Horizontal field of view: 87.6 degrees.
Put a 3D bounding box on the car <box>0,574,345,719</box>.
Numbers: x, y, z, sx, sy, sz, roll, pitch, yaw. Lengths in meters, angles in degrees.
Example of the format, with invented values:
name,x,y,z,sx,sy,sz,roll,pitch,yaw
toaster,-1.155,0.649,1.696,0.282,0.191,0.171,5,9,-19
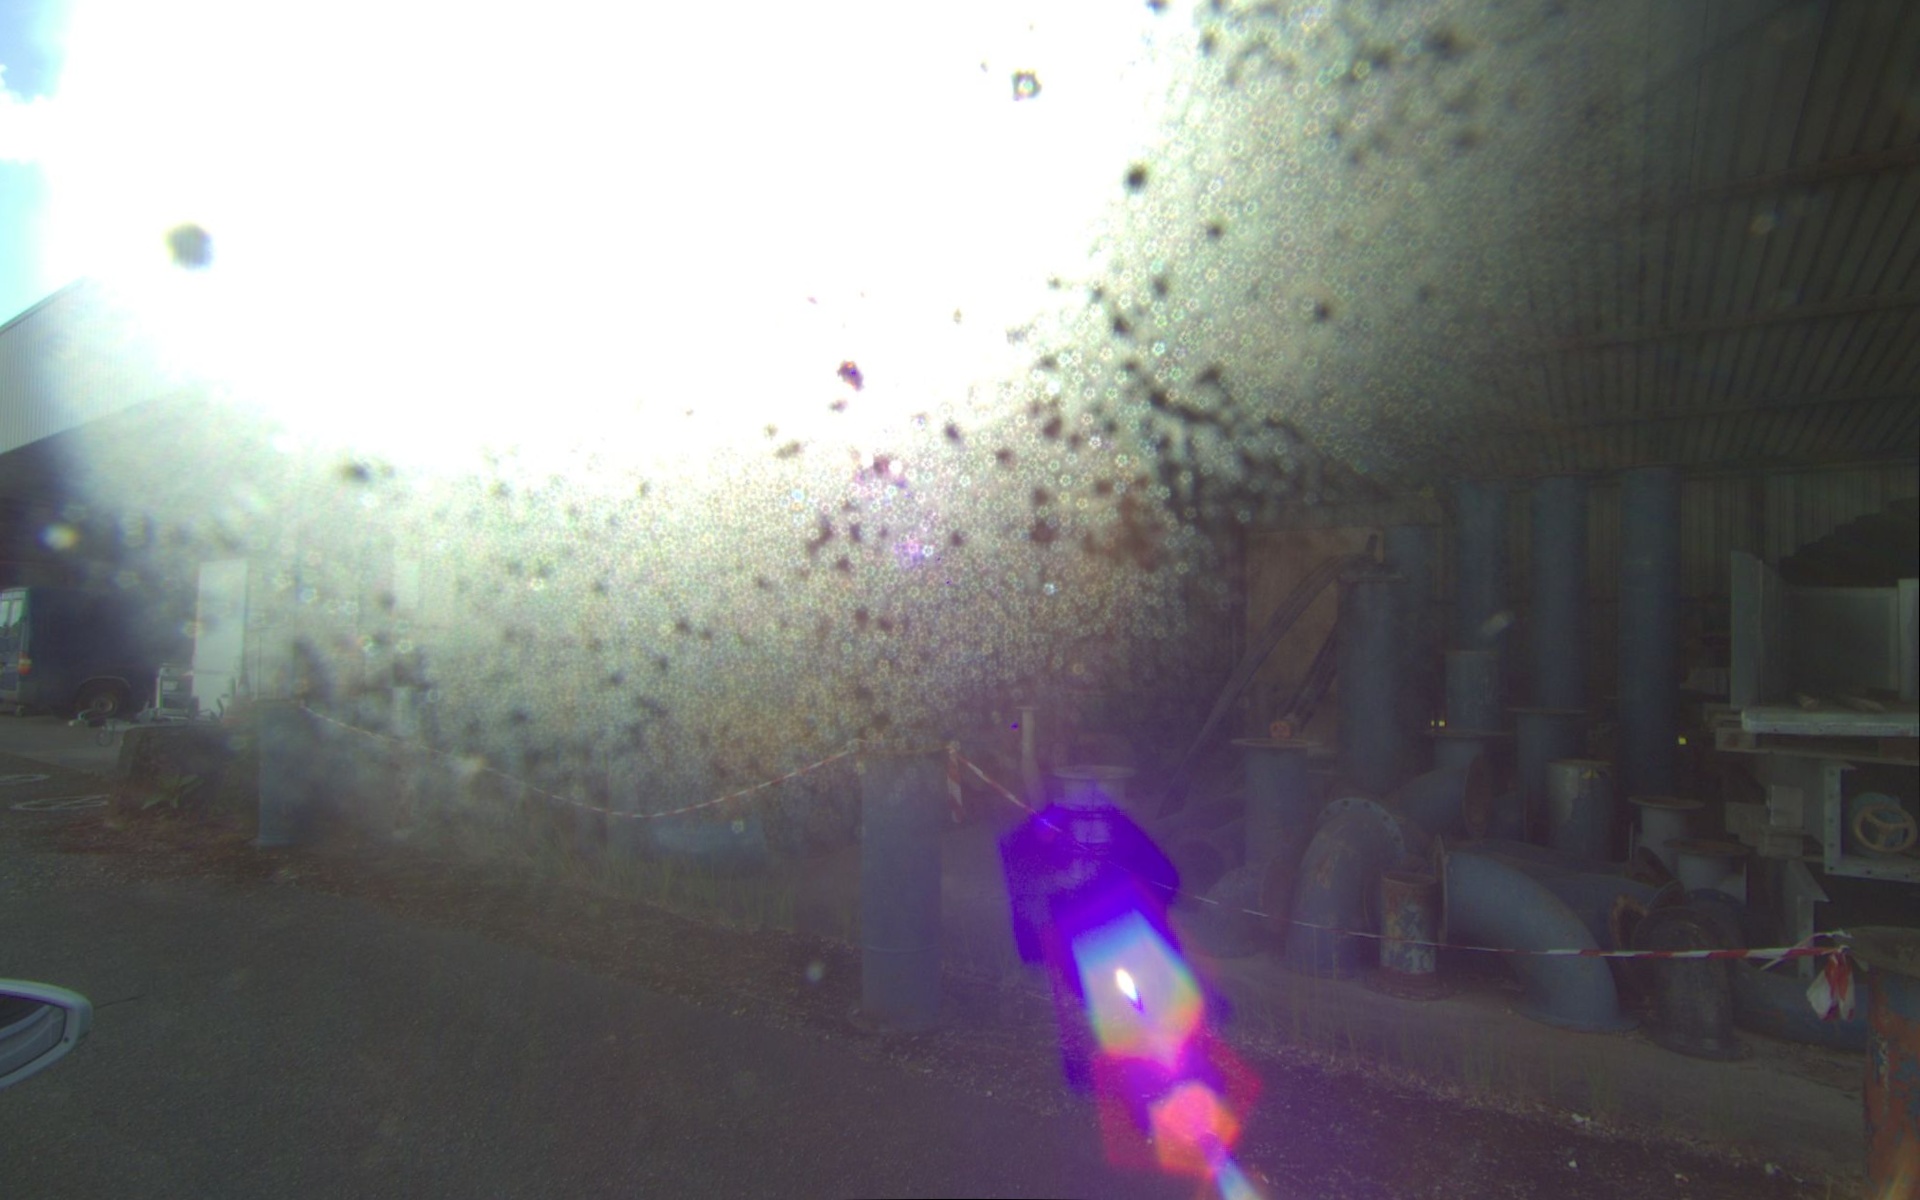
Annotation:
name,x,y,z,sx,sy,sz,roll,pitch,yaw
car,-14.761,0.899,18.903,1.973,2.354,4.969,-1,-3,34

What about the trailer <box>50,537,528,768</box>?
name,x,y,z,sx,sy,sz,roll,pitch,yaw
trailer,-8.366,0.668,12.960,1.804,2.421,4.796,-1,-3,38

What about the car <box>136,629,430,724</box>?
name,x,y,z,sx,sy,sz,roll,pitch,yaw
car,-11.911,1.299,17.909,1.761,1.491,3.985,-1,-3,29

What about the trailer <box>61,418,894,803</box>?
name,x,y,z,sx,sy,sz,roll,pitch,yaw
trailer,-5.048,0.316,13.426,2.814,3.256,10.018,-1,-3,34

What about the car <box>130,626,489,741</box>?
name,x,y,z,sx,sy,sz,roll,pitch,yaw
car,-9.813,1.206,15.490,1.751,1.514,4.324,-1,-3,31
